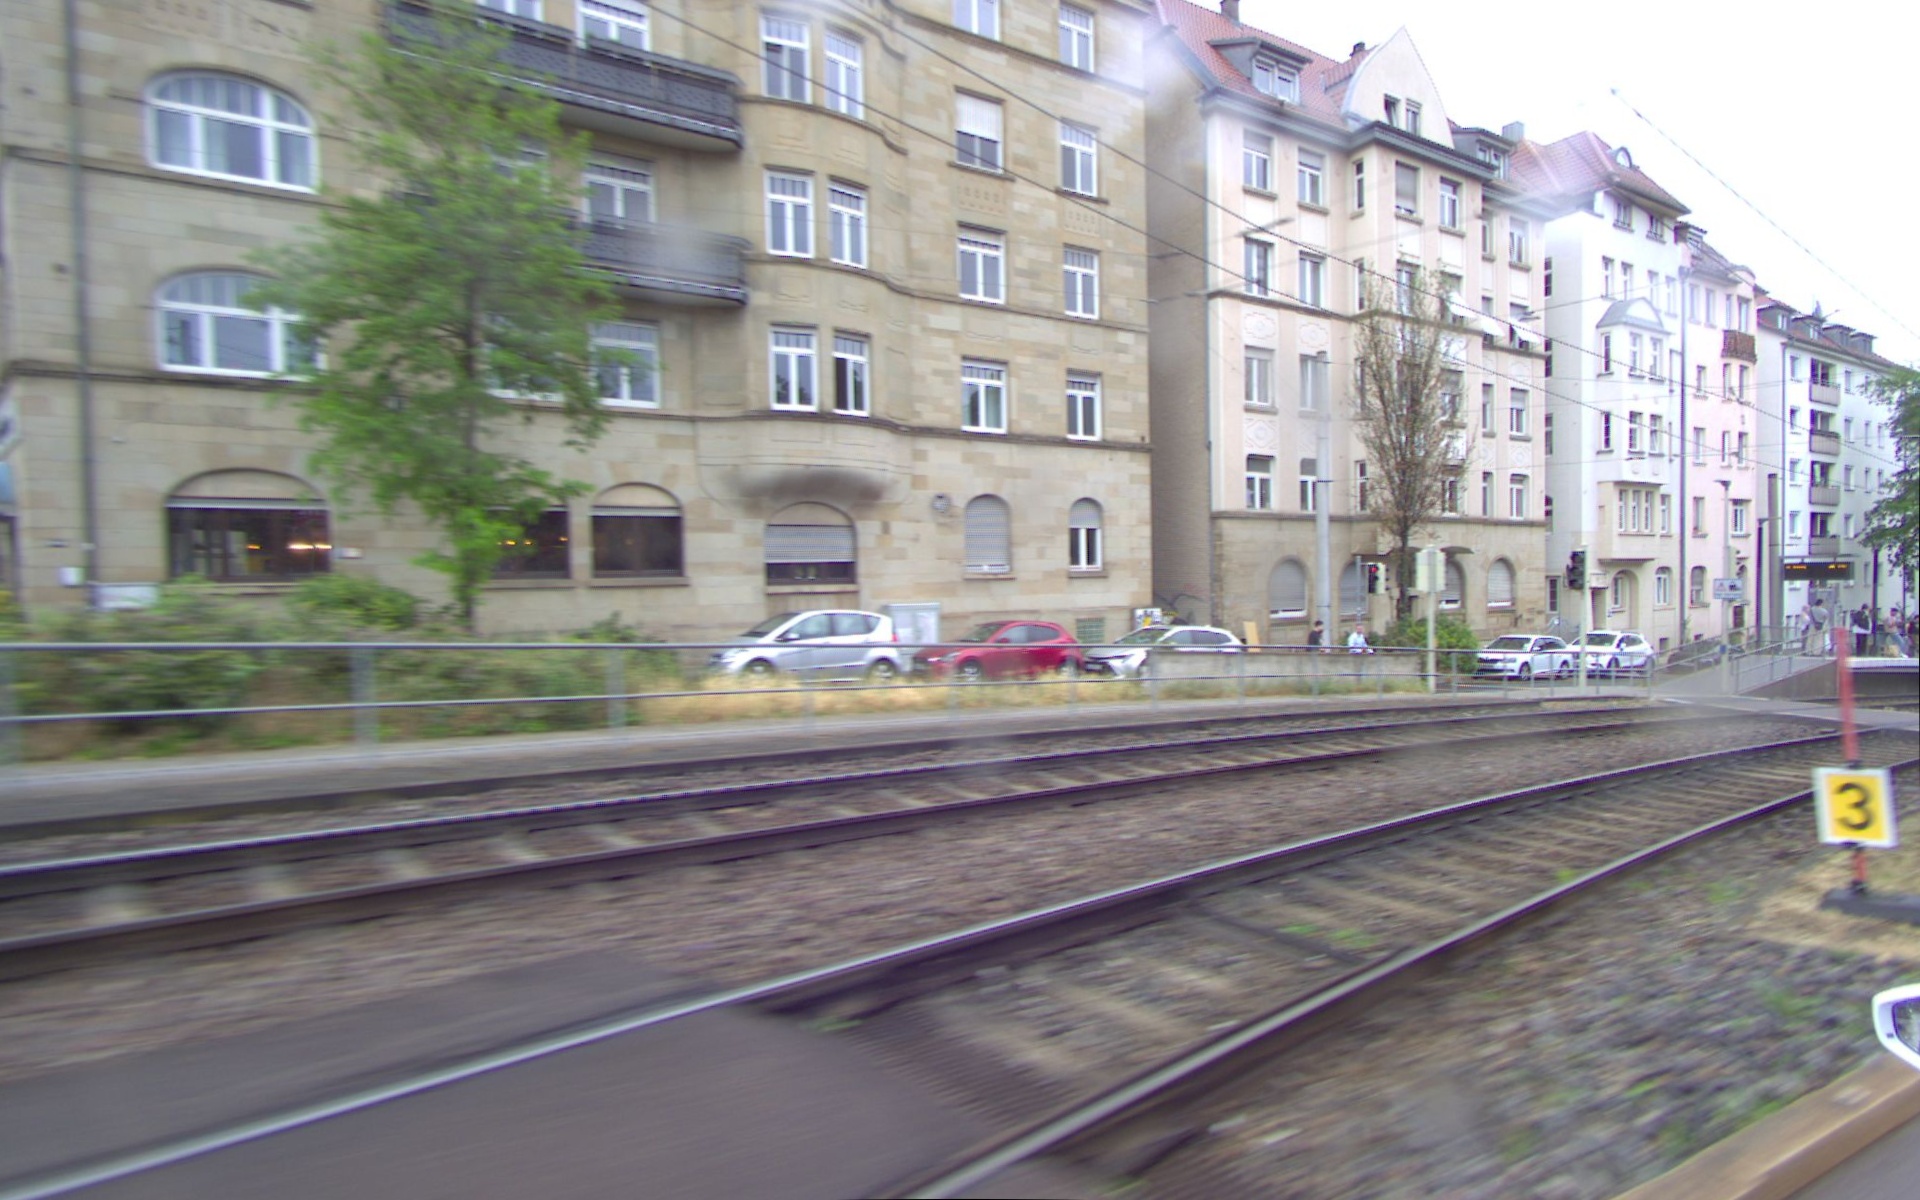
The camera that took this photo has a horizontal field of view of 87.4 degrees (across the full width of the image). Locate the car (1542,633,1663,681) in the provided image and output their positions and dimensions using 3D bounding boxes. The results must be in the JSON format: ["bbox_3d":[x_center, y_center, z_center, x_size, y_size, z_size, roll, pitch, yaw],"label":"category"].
[{"bbox_3d":[23.199,2.037,36.226,4.484,1.643,1.913,2,-3,-32],"label":"car"}]

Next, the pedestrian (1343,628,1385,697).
[{"bbox_3d":[10.370,1.586,25.808,0.720,1.722,0.716,2,-2,-31],"label":"pedestrian"}]

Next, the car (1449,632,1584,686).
[{"bbox_3d":[18.472,1.960,33.282,4.484,1.553,1.982,3,-1,-32],"label":"car"}]

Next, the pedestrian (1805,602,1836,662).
[{"bbox_3d":[27.169,1.008,31.712,0.592,1.874,0.558,2,-3,-33],"label":"pedestrian"}]

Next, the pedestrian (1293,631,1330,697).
[{"bbox_3d":[8.803,1.593,25.160,0.613,1.614,0.622,2,-2,-31],"label":"pedestrian"}]

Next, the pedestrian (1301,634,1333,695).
[{"bbox_3d":[9.263,1.671,26.045,0.613,1.552,0.517,2,-2,-31],"label":"pedestrian"}]

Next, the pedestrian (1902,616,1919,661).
[{"bbox_3d":[36.081,1.452,37.881,0.754,1.687,0.591,2,-3,-33],"label":"pedestrian"}]

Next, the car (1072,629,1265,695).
[{"bbox_3d":[5.119,1.471,24.366,4.817,1.461,1.707,2,-2,-34],"label":"car"}]

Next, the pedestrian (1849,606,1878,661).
[{"bbox_3d":[31.078,1.153,34.554,0.754,1.861,0.513,2,-3,-33],"label":"pedestrian"}]

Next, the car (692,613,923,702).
[{"bbox_3d":[-2.900,1.086,19.446,4.129,1.567,1.621,2,-2,-33],"label":"car"}]

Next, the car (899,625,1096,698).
[{"bbox_3d":[0.868,1.311,21.937,4.129,1.461,1.621,2,-2,-33],"label":"car"}]

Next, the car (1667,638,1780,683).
[{"bbox_3d":[30.848,2.457,40.563,4.758,1.754,1.984,3,-3,-30],"label":"car"}]

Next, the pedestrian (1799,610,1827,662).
[{"bbox_3d":[27.455,1.168,32.324,0.557,1.625,0.513,2,-3,-33],"label":"pedestrian"}]

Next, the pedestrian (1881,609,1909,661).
[{"bbox_3d":[33.981,1.278,36.513,0.754,1.861,0.513,2,-3,-33],"label":"pedestrian"}]
